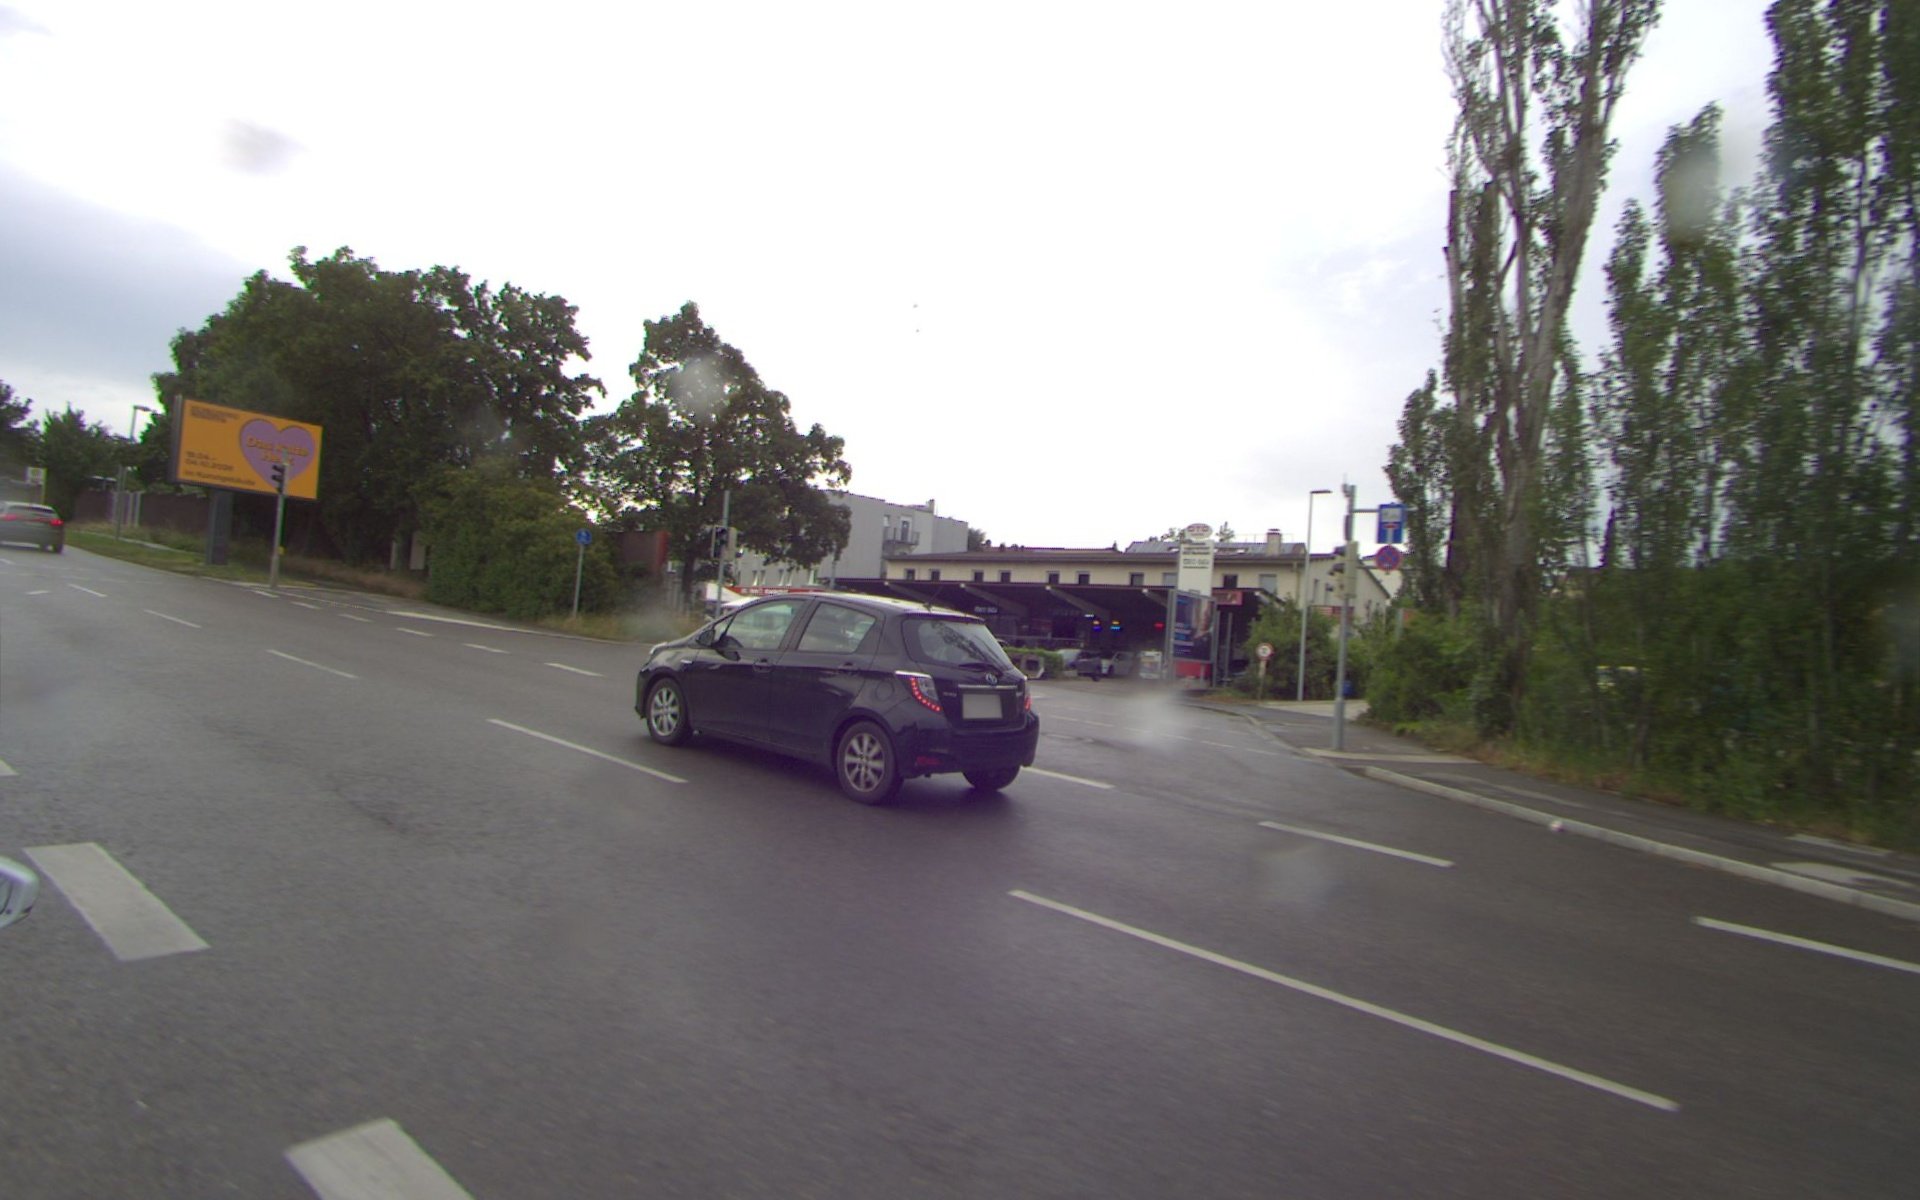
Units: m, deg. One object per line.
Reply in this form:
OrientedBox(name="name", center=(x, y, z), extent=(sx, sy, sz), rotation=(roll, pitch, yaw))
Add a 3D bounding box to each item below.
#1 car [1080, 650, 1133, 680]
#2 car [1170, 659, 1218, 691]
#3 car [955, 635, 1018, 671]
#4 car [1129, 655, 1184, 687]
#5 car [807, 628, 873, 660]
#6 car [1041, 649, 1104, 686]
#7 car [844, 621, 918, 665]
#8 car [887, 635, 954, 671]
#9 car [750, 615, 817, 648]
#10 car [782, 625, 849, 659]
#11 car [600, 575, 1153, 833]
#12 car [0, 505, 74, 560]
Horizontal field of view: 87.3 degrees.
OrientedBox(name="car", center=(9.164, 4.063, 62.678), extent=(1.884, 1.583, 3.874), rotation=(6, -2, 30))
OrientedBox(name="car", center=(13.465, 4.306, 57.843), extent=(1.492, 1.583, 3.874), rotation=(6, -1, 30))
OrientedBox(name="car", center=(1.454, 2.877, 54.091), extent=(1.493, 1.583, 3.872), rotation=(6, -2, 32))
OrientedBox(name="car", center=(11.678, 4.230, 59.615), extent=(1.884, 1.583, 3.874), rotation=(6, -2, 30))
OrientedBox(name="car", center=(-6.652, 2.471, 56.065), extent=(1.493, 1.414, 3.872), rotation=(6, -2, 32))
OrientedBox(name="car", center=(5.705, 3.412, 50.552), extent=(1.493, 1.583, 3.872), rotation=(6, -2, 32))
OrientedBox(name="car", center=(-4.209, 2.340, 54.084), extent=(1.827, 1.969, 3.872), rotation=(6, -1, 32))
OrientedBox(name="car", center=(-2.041, 2.840, 53.361), extent=(1.493, 1.583, 3.872), rotation=(6, -2, 32))
OrientedBox(name="car", center=(-10.137, 1.840, 58.102), extent=(1.493, 1.583, 3.872), rotation=(6, -2, 32))
OrientedBox(name="car", center=(-8.132, 2.418, 56.907), extent=(1.493, 1.583, 3.872), rotation=(6, -2, 32))
OrientedBox(name="car", center=(-0.903, 0.700, 8.392), extent=(4.575, 1.487, 1.744), rotation=(3, -3, 39))
OrientedBox(name="car", center=(-30.851, -2.286, 33.124), extent=(4.105, 1.487, 1.744), rotation=(6, -1, 39))
